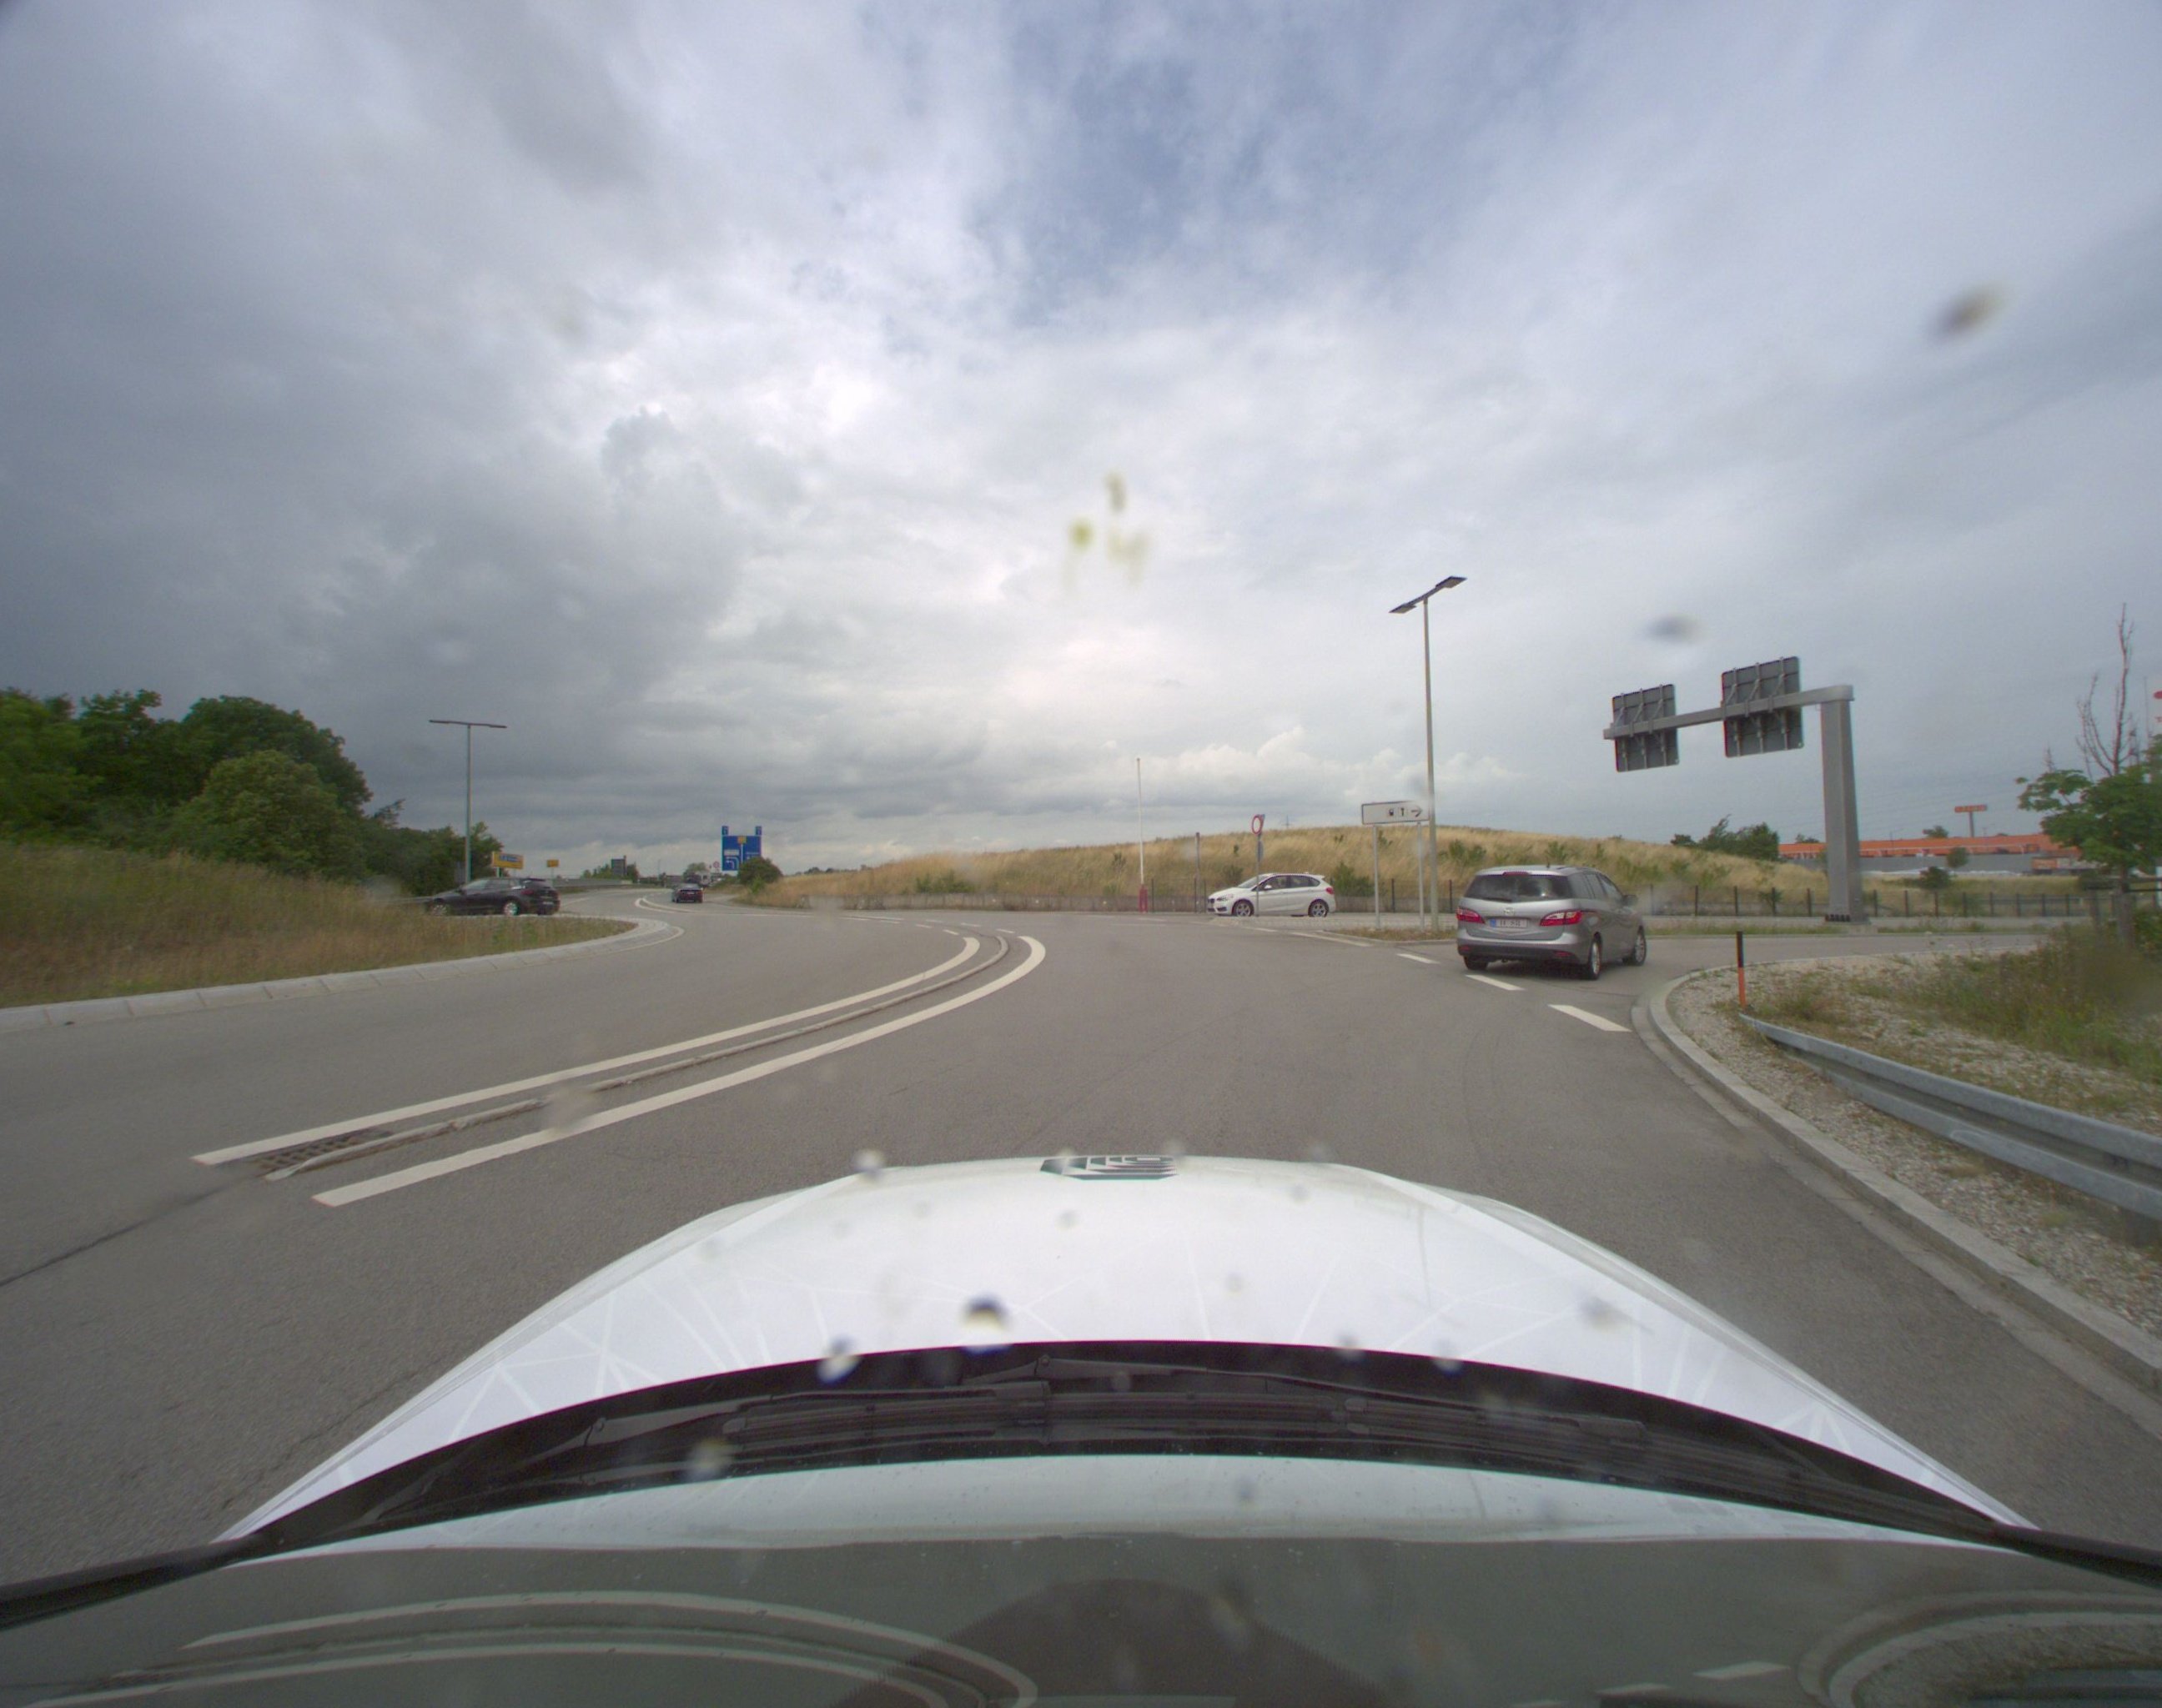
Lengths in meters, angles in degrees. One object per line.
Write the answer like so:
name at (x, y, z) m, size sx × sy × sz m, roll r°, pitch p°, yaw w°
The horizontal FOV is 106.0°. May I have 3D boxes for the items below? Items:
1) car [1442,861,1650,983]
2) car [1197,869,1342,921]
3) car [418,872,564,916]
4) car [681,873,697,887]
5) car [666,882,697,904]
car at (7.281, 0.942, 12.584) m, size 1.893 × 1.574 × 4.023 m, roll -1°, pitch -2°, yaw 43°
car at (6.308, 1.377, 27.443) m, size 4.413 × 1.629 × 1.778 m, roll 1°, pitch 0°, yaw -10°
car at (-20.267, 1.359, 28.056) m, size 3.965 × 1.378 × 1.670 m, roll -1°, pitch 0°, yaw 7°
car at (-48.570, 3.186, 100.976) m, size 1.607 × 1.549 × 4.009 m, roll -1°, pitch 0°, yaw -28°
car at (-27.618, 2.671, 56.267) m, size 1.528 × 1.486 × 3.579 m, roll 1°, pitch -3°, yaw -32°
